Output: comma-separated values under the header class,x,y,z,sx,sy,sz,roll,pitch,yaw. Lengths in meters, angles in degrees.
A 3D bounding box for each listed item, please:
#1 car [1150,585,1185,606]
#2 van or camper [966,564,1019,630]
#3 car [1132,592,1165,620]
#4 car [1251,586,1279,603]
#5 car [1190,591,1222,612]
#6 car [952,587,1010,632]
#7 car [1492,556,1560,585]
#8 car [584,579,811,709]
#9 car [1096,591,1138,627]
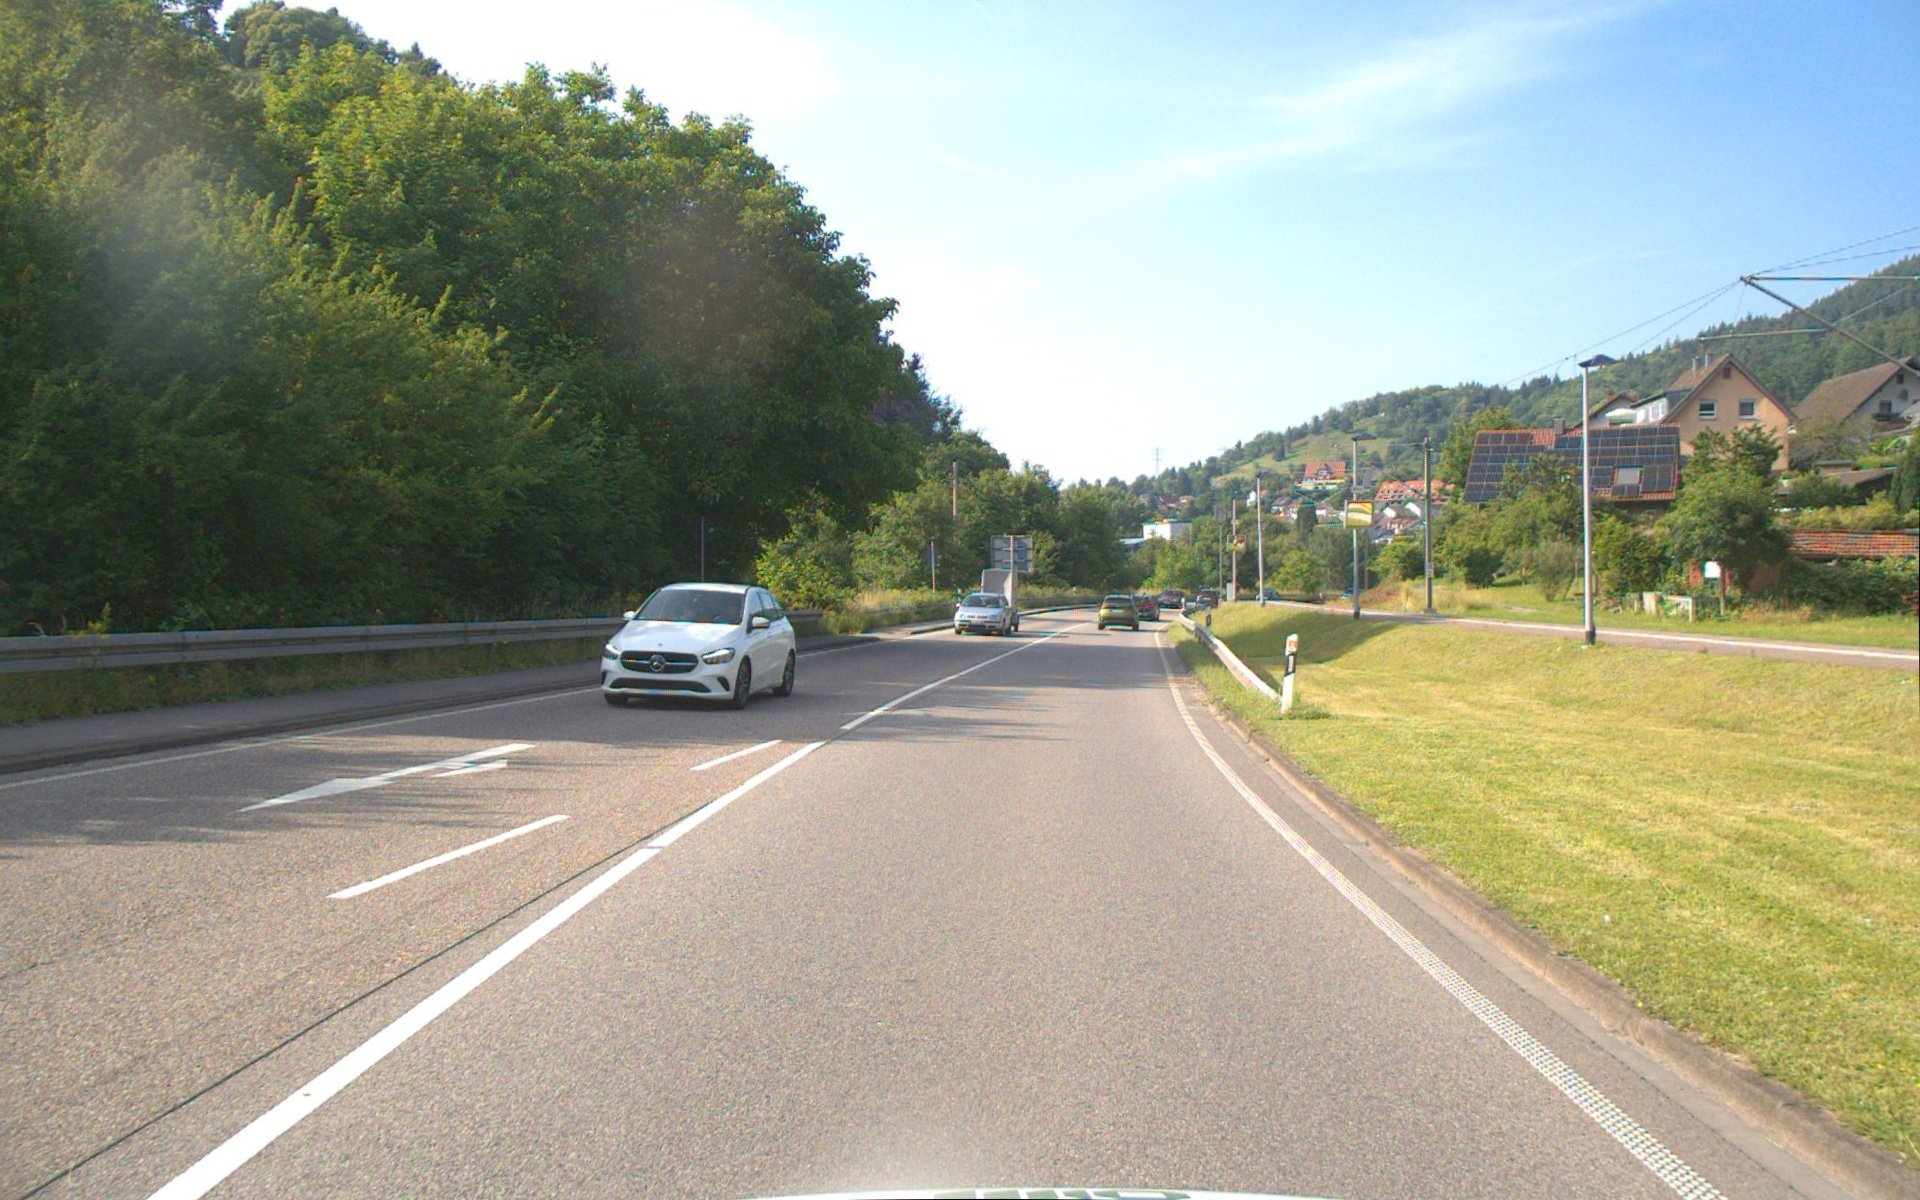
class,x,y,z,sx,sy,sz,roll,pitch,yaw
car,16.226,-0.367,129.075,1.803,1.495,4.946,3,1,17
van or camper,1.271,-0.133,62.789,1.569,2.369,4.062,2,1,6
car,10.641,0.342,93.524,1.801,1.485,3.716,-1,0,6
car,27.245,-0.478,147.706,1.771,1.433,3.773,-1,0,21
car,18.689,0.102,125.508,1.769,1.478,3.648,-1,0,19
car,0.781,0.292,58.480,1.613,1.461,4.609,2,1,6
car,35.490,-1.839,103.720,3.906,1.713,2.000,-1,0,22
car,-3.357,0.506,22.122,1.904,1.512,4.588,2,1,5
car,6.854,0.376,71.845,1.692,1.482,3.413,-1,0,7
